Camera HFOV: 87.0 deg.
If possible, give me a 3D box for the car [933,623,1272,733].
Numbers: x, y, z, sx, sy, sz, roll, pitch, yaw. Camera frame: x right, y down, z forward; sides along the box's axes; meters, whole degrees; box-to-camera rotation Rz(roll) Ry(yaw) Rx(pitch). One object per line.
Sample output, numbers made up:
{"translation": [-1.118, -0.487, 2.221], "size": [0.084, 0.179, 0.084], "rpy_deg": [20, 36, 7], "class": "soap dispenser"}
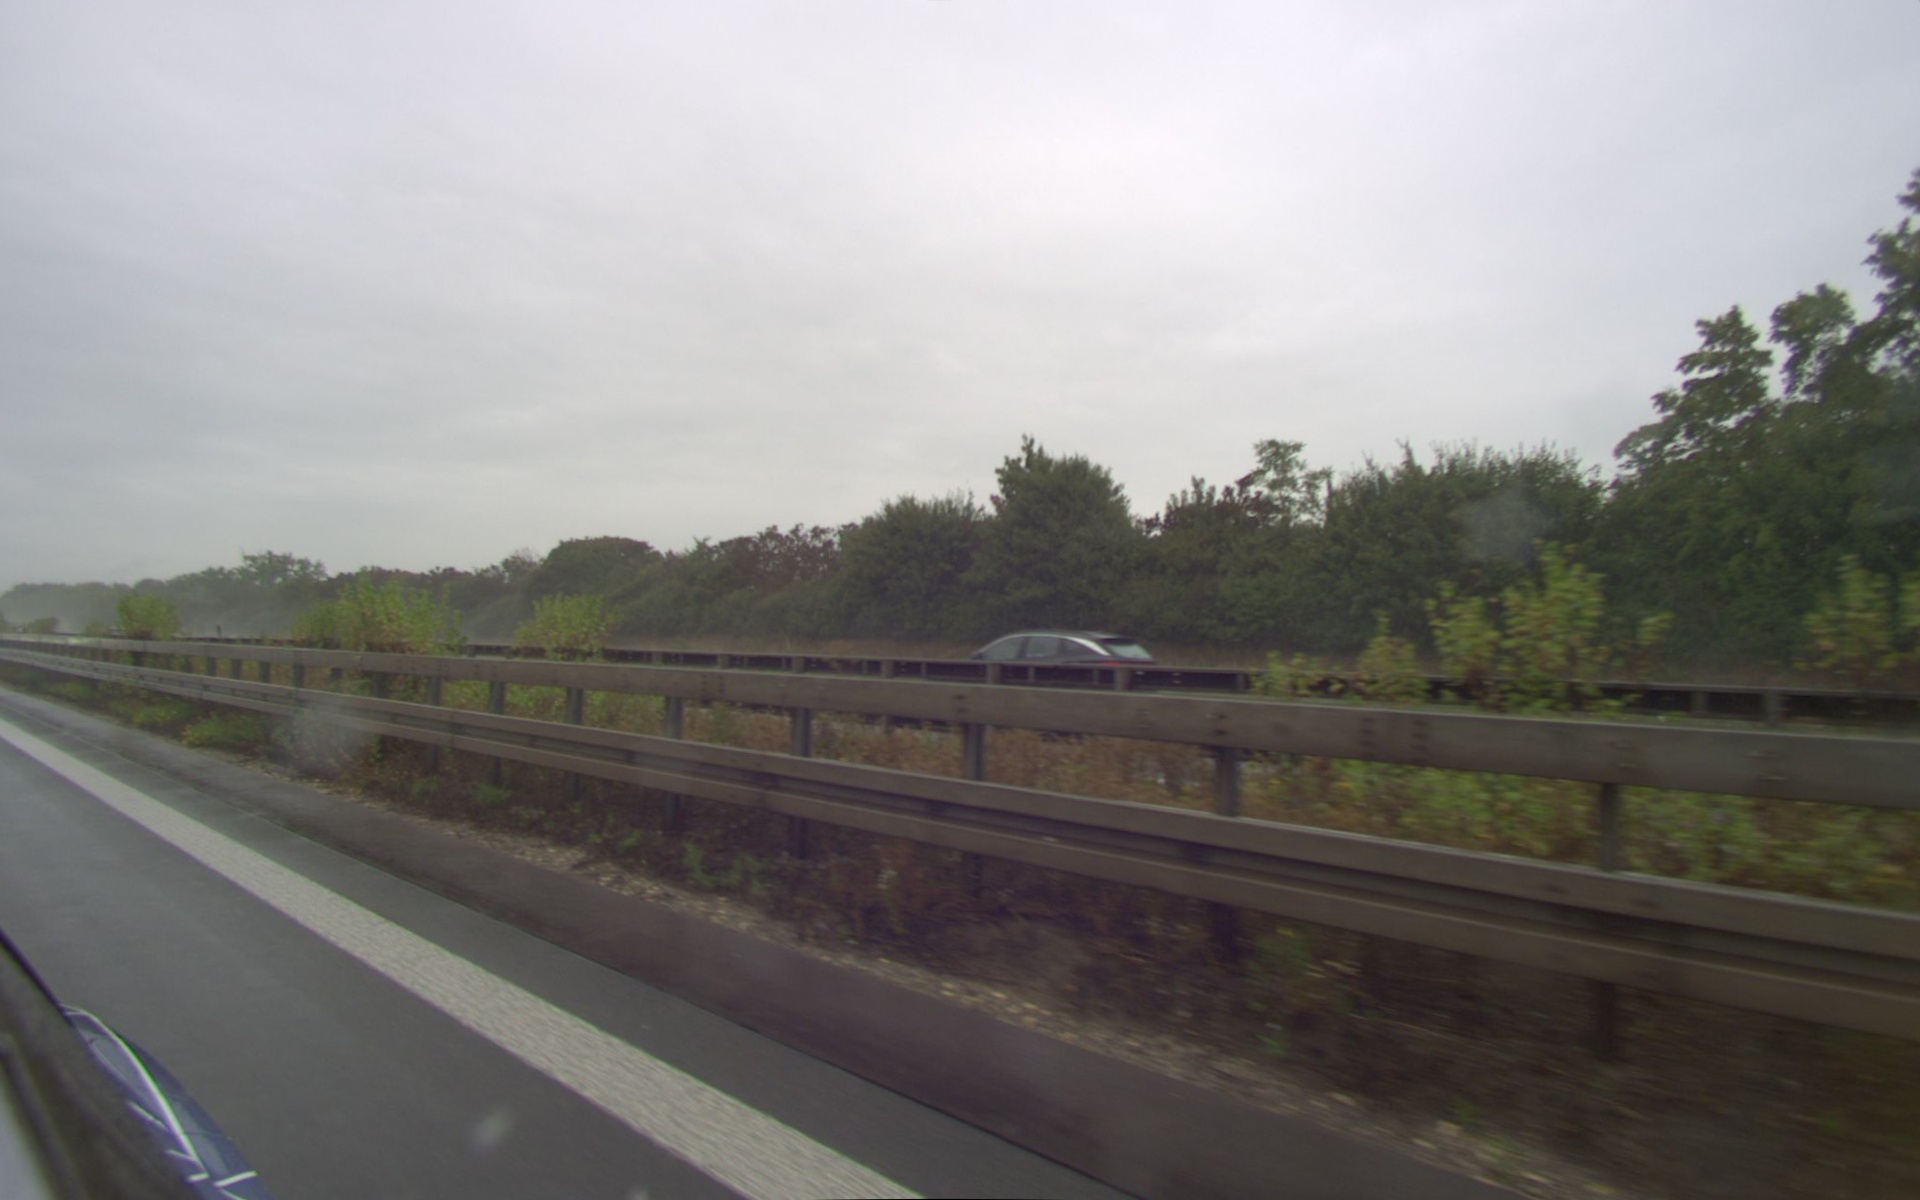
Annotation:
{"translation": [2.189, 1.191, 16.845], "size": [5.431, 1.524, 1.907], "rpy_deg": [-2, -1, 41], "class": "car"}
